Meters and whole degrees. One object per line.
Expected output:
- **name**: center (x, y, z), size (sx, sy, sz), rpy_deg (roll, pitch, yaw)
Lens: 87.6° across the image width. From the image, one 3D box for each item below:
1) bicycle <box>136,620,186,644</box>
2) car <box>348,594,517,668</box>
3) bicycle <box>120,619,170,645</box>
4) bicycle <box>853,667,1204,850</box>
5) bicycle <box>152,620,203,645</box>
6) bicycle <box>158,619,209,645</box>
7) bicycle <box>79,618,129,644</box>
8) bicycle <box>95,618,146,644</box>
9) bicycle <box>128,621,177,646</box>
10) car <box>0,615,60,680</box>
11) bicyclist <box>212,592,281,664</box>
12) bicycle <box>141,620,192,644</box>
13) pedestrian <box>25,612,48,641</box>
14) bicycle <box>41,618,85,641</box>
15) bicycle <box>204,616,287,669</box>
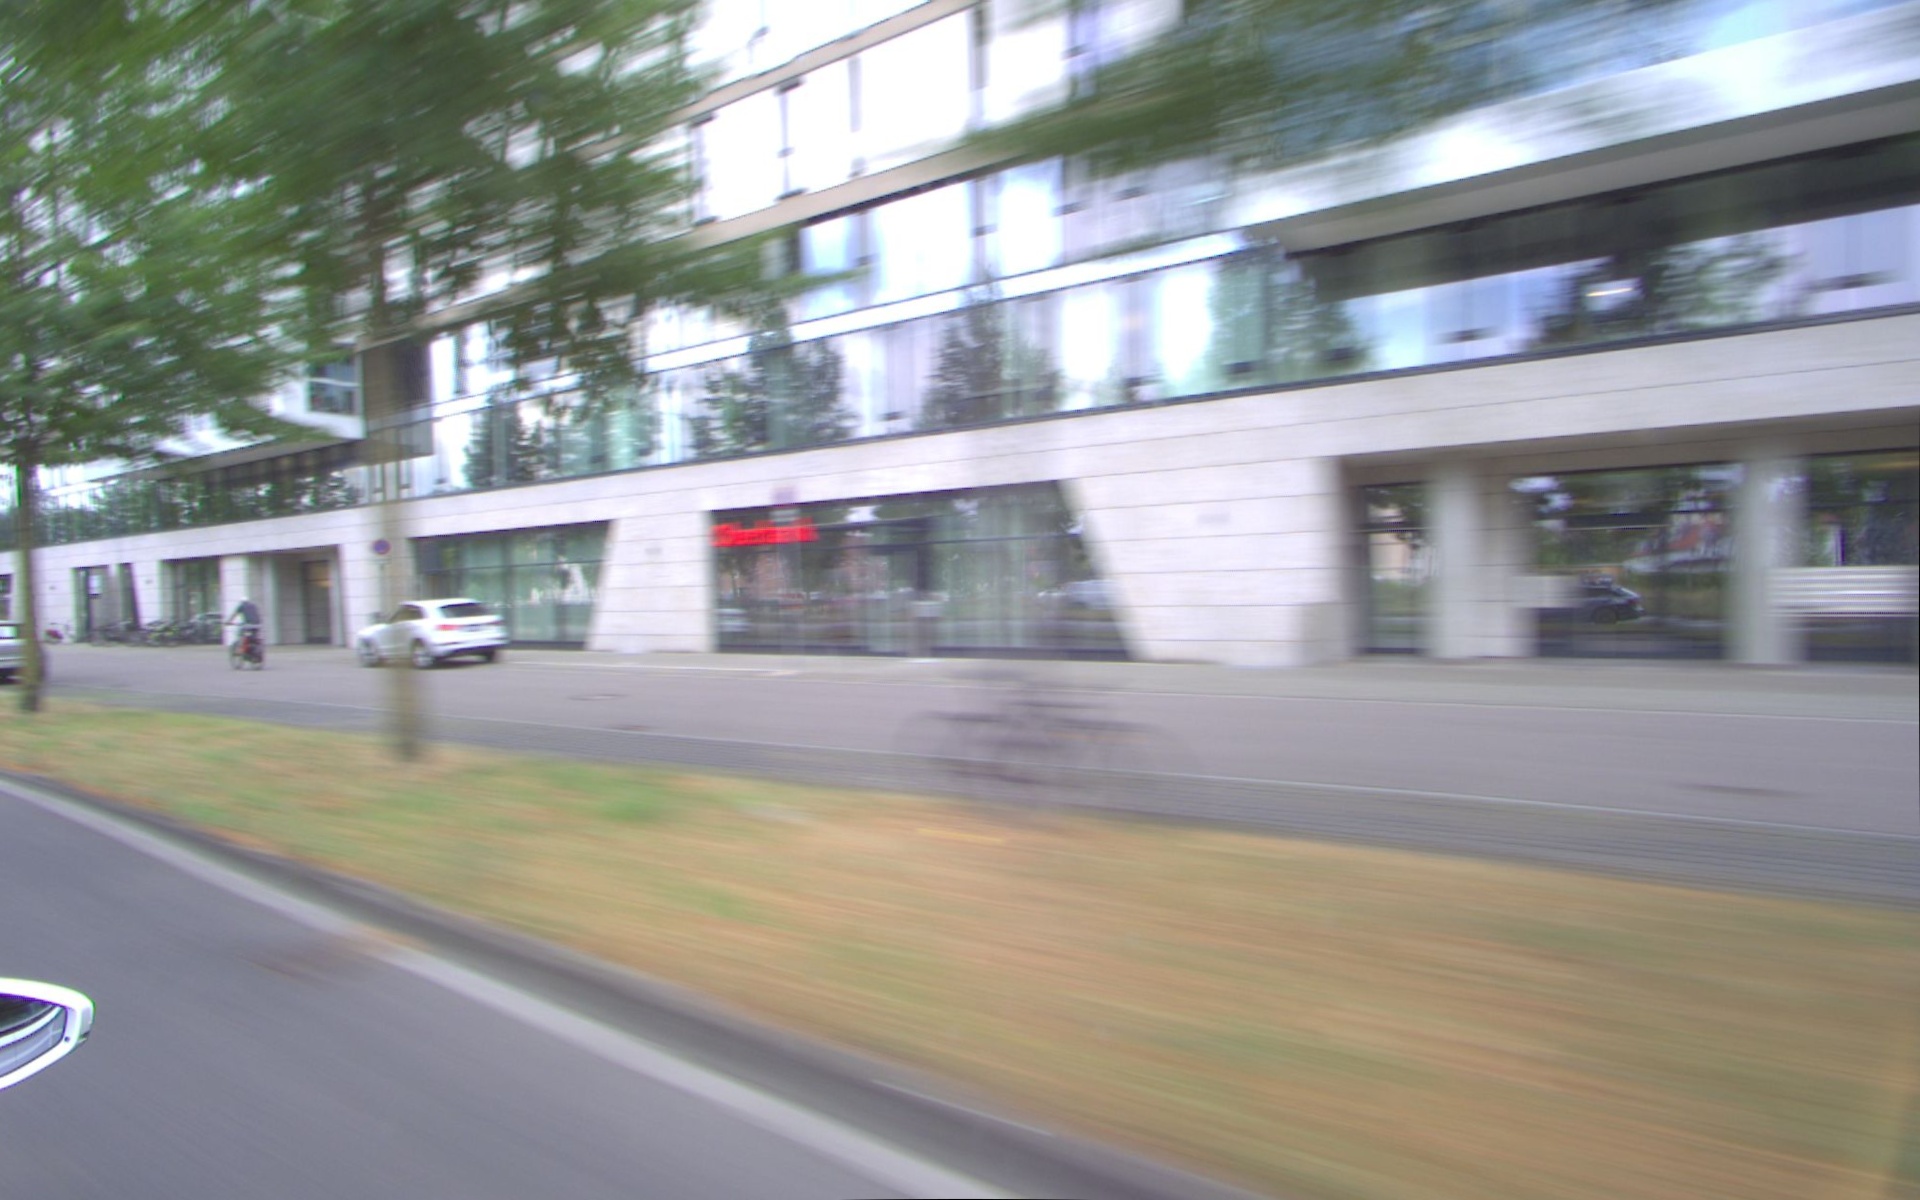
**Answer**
- **bicycle**: center (-33.371, 1.333, 41.841), size (0.525, 0.966, 1.526), rpy_deg (-1, 1, 30)
- **car**: center (-13.073, 0.723, 24.774), size (4.181, 1.610, 1.852), rpy_deg (-1, 3, 33)
- **bicycle**: center (-34.823, 1.358, 42.800), size (0.525, 1.040, 1.526), rpy_deg (-1, 1, 30)
- **bicycle**: center (0.350, 0.874, 6.011), size (2.087, 0.887, 0.631), rpy_deg (-1, -2, 35)
- **bicycle**: center (-32.071, 1.315, 41.047), size (0.525, 0.966, 1.526), rpy_deg (-1, 1, 30)
- **bicycle**: center (-31.597, 1.300, 40.765), size (0.525, 0.966, 1.526), rpy_deg (-1, 1, 30)
- **bicycle**: center (-38.022, 1.368, 44.500), size (0.525, 1.040, 1.595), rpy_deg (-1, 1, 30)
- **bicycle**: center (-36.486, 1.346, 43.526), size (0.525, 1.040, 1.595), rpy_deg (-1, 1, 30)
- **bicycle**: center (-34.065, 1.396, 42.263), size (0.525, 0.966, 1.526), rpy_deg (-1, 1, 30)
- **car**: center (-23.191, 1.106, 23.738), size (4.124, 1.440, 1.756), rpy_deg (-1, 0, 33)
- **bicyclist**: center (-18.451, 0.705, 25.911), size (1.113, 1.761, 0.994), rpy_deg (0, 4, 32)
- **bicycle**: center (-32.879, 1.320, 41.503), size (0.525, 0.966, 1.526), rpy_deg (-1, 1, 30)
- **pedestrian**: center (-46.853, 1.351, 50.791), size (0.712, 1.426, 0.752), rpy_deg (0, 1, 40)
- **bicycle**: center (-43.807, 1.414, 48.916), size (0.599, 1.040, 1.602), rpy_deg (-1, 1, 6)
- **bicycle**: center (-18.564, 1.086, 26.004), size (2.235, 1.252, 0.899), rpy_deg (-1, 4, 32)
